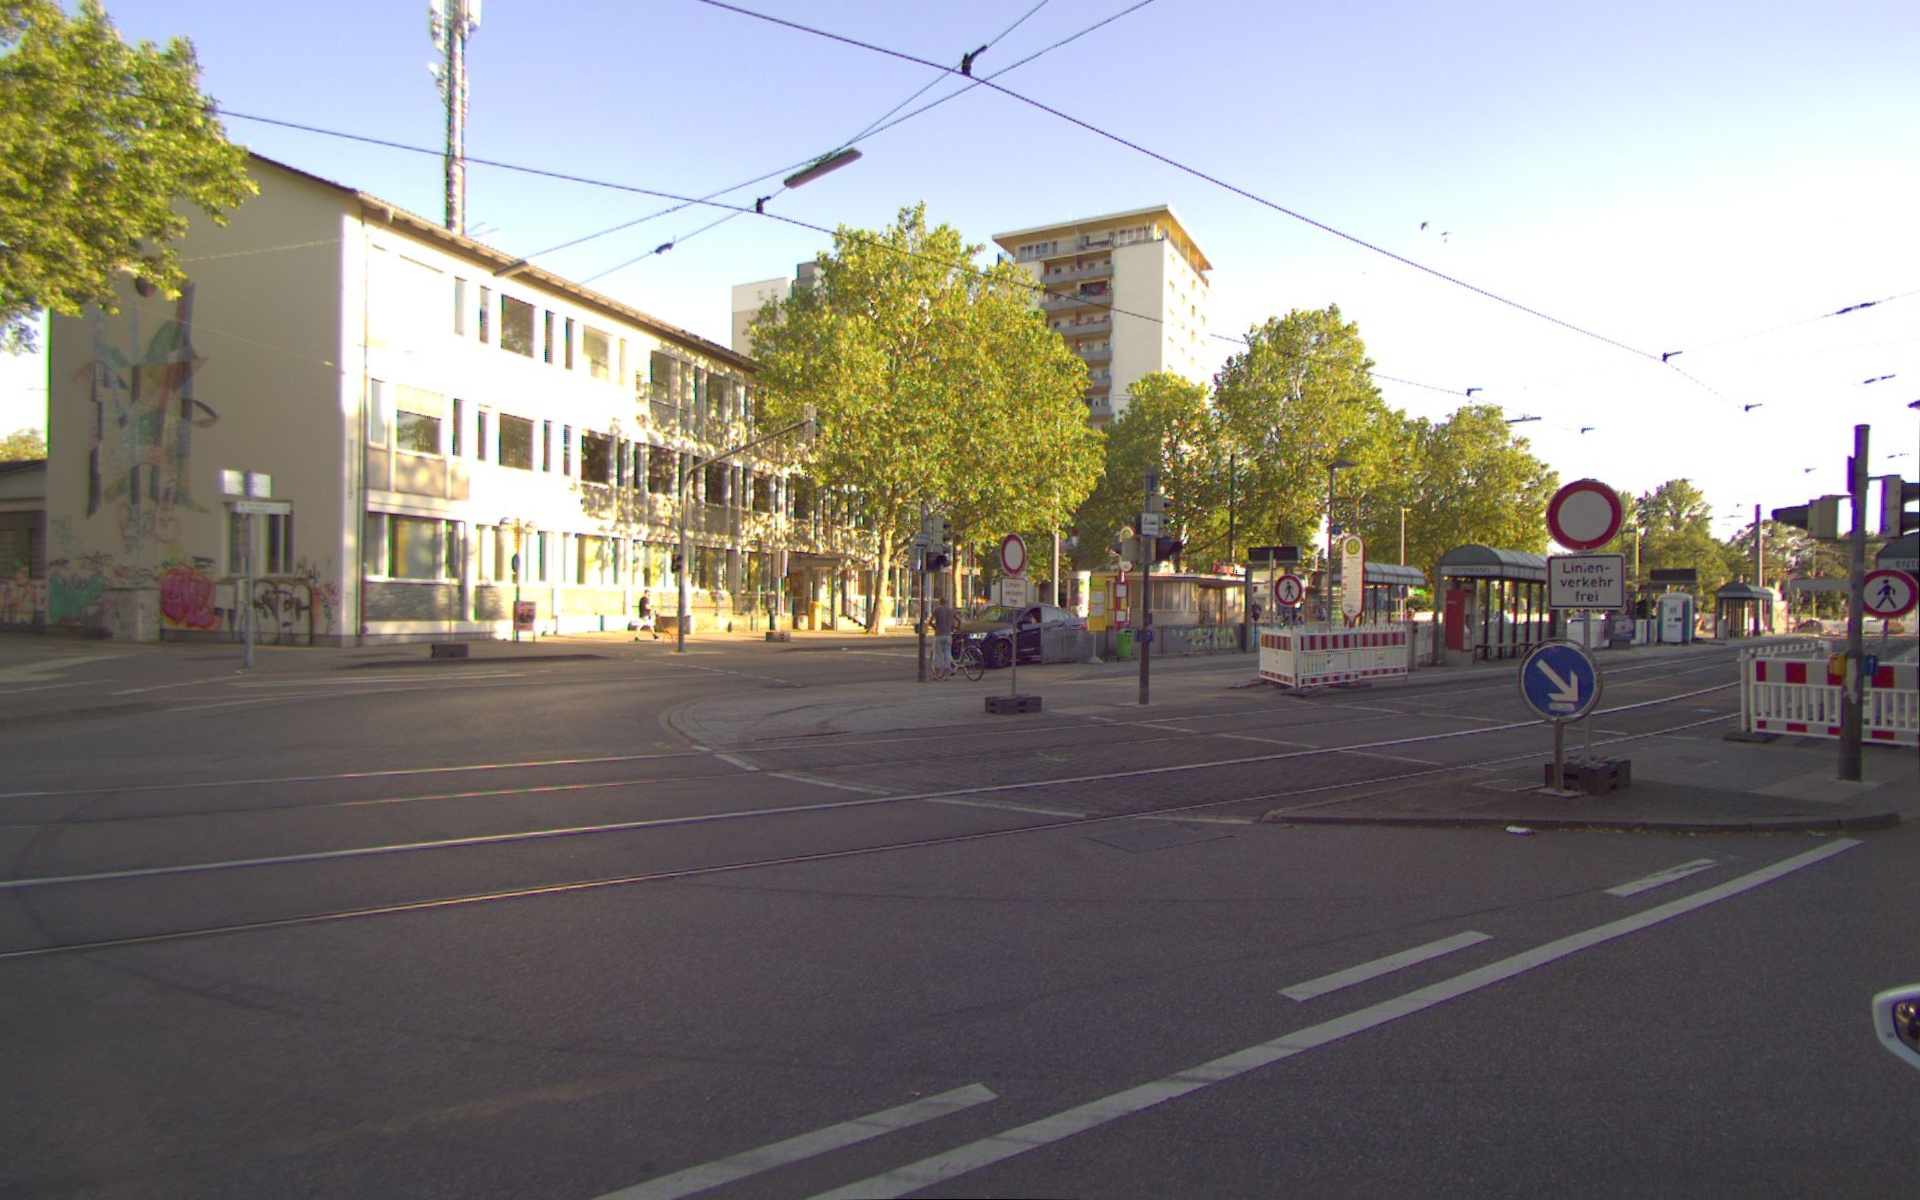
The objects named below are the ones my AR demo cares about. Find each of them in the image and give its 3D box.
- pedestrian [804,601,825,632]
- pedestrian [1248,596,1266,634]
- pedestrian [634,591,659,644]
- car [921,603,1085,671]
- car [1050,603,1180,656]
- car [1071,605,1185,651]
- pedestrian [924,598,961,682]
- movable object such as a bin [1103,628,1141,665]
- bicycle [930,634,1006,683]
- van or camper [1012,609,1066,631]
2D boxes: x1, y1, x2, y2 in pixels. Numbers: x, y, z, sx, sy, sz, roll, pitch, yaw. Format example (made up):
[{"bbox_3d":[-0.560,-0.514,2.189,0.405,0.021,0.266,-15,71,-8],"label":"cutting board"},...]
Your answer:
[{"bbox_3d":[-6.767,0.772,46.765,0.663,1.414,0.693,2,2,20],"label":"pedestrian"},{"bbox_3d":[15.892,0.788,53.702,0.699,2.040,0.740,1,0,39],"label":"pedestrian"},{"bbox_3d":[-10.424,0.575,33.375,0.664,1.733,0.431,2,2,28],"label":"pedestrian"},{"bbox_3d":[1.187,0.927,26.135,4.176,1.606,1.868,1,0,-43],"label":"car"},{"bbox_3d":[4.963,0.896,31.792,4.176,1.551,1.868,1,0,-43],"label":"car"},{"bbox_3d":[6.067,0.992,36.092,4.176,1.551,1.868,1,0,-43],"label":"car"},{"bbox_3d":[-0.373,0.840,21.362,0.397,1.748,0.712,1,0,-45],"label":"pedestrian"},{"bbox_3d":[4.201,1.200,26.062,0.697,0.878,0.664,0,2,-42],"label":"movable object such as a bin"},{"bbox_3d":[0.156,1.228,21.480,0.460,0.955,1.822,1,0,-44],"label":"bicycle"},{"bbox_3d":[5.964,1.473,75.574,3.919,1.573,1.830,1,0,7],"label":"van or camper"}]
